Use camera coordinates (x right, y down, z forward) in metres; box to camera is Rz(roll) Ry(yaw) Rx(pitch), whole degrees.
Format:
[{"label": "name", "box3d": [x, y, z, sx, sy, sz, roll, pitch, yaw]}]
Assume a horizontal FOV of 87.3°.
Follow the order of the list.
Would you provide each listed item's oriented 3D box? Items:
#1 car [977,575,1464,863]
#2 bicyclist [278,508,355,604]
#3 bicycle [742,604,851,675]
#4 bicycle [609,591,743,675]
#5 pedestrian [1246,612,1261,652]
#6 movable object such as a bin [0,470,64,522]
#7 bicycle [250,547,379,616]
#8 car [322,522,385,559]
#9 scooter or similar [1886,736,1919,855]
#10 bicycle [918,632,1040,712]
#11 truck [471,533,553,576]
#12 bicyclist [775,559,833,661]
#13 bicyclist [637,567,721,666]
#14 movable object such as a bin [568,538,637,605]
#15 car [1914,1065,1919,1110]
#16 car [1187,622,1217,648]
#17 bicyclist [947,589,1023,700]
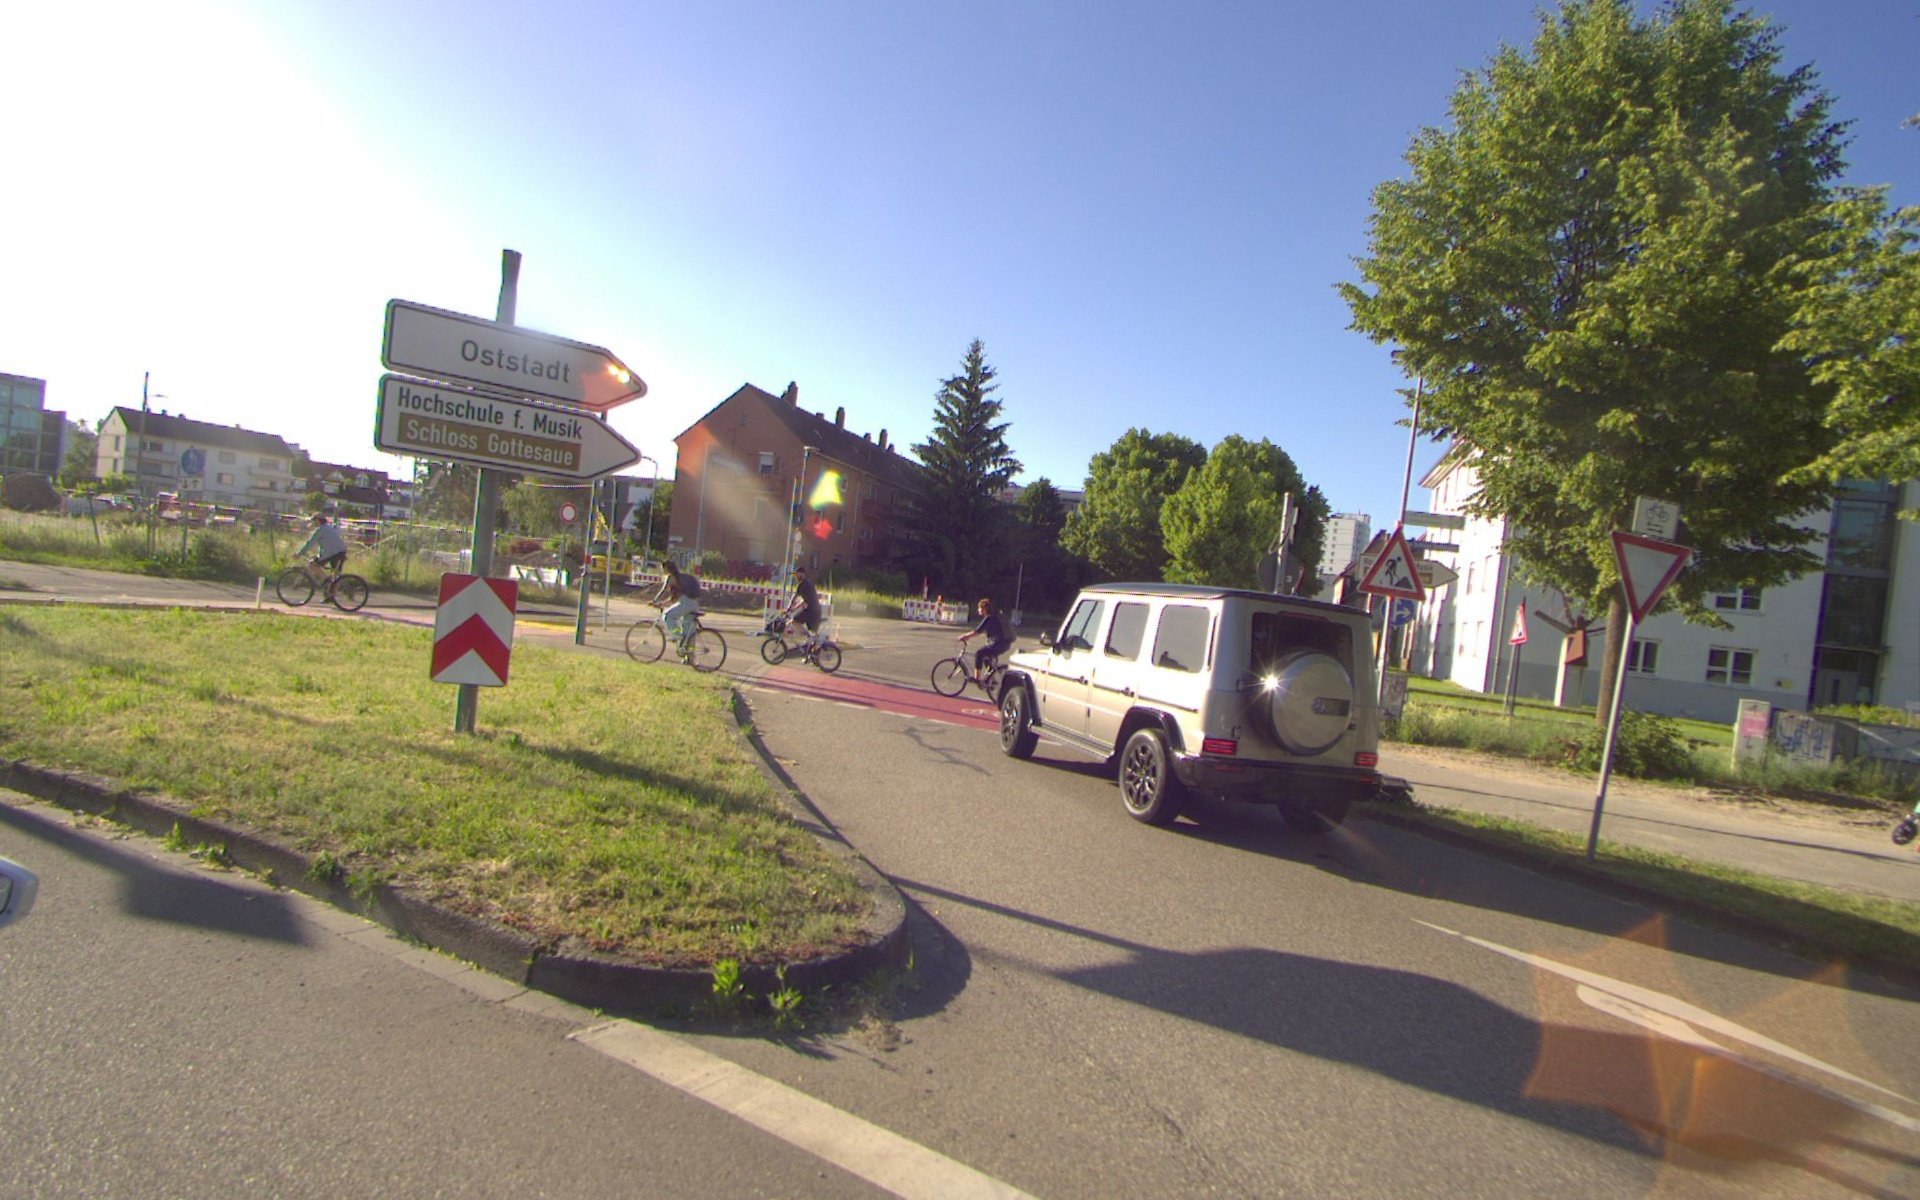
[{"label": "car", "box3d": [2.019, 0.863, 9.554, 1.975, 1.920, 4.731, 7, 0, -20]}, {"label": "bicyclist", "box3d": [-12.232, -0.827, 19.145, 0.838, 1.703, 0.741, 7, 3, 5]}, {"label": "bicycle", "box3d": [-2.995, 0.714, 18.519, 1.791, 1.040, 0.660, 8, 0, -1]}, {"label": "bicycle", "box3d": [-4.416, 0.520, 15.712, 1.789, 1.040, 0.661, 8, 0, 7]}, {"label": "pedestrian", "box3d": [15.220, 1.656, 52.189, 0.463, 2.039, 0.454, 7, 2, 27]}, {"label": "movable object such as a bin", "box3d": [-61.008, -6.835, 62.209, 2.901, 2.817, 7.898, 8, 0, 40]}, {"label": "bicycle", "box3d": [-12.294, -0.358, 19.188, 1.972, 1.041, 0.742, 8, 3, 5]}, {"label": "car", "box3d": [-43.430, -4.283, 71.959, 4.426, 2.037, 1.996, 8, -1, 34]}, {"label": "scooter or similar", "box3d": [10.896, 2.192, 10.827, 1.247, 1.262, 0.443, 6, -1, 40]}, {"label": "bicycle", "box3d": [0.307, 1.171, 16.602, 1.790, 1.040, 0.660, 8, 0, 23]}, {"label": "truck", "box3d": [-28.985, -2.946, 64.989, 6.344, 2.037, 2.163, 7, -1, 41]}, {"label": "bicyclist", "box3d": [-2.867, 0.184, 18.500, 0.798, 1.751, 0.654, 6, 0, -1]}, {"label": "bicyclist", "box3d": [-4.373, 0.260, 15.699, 0.917, 1.401, 0.661, 8, 0, 7]}, {"label": "movable object such as a bin", "box3d": [-17.495, -1.419, 49.136, 2.399, 2.806, 3.974, 8, -1, -27]}, {"label": "car", "box3d": [5.665, 1.520, 2.692, 1.701, 1.453, 4.118, 7, 0, -31]}, {"label": "car", "box3d": [21.741, 3.144, 90.420, 1.963, 1.893, 4.002, 8, -1, 20]}, {"label": "bicyclist", "box3d": [0.417, 0.733, 16.574, 0.883, 1.685, 0.660, 8, 0, 22]}]
